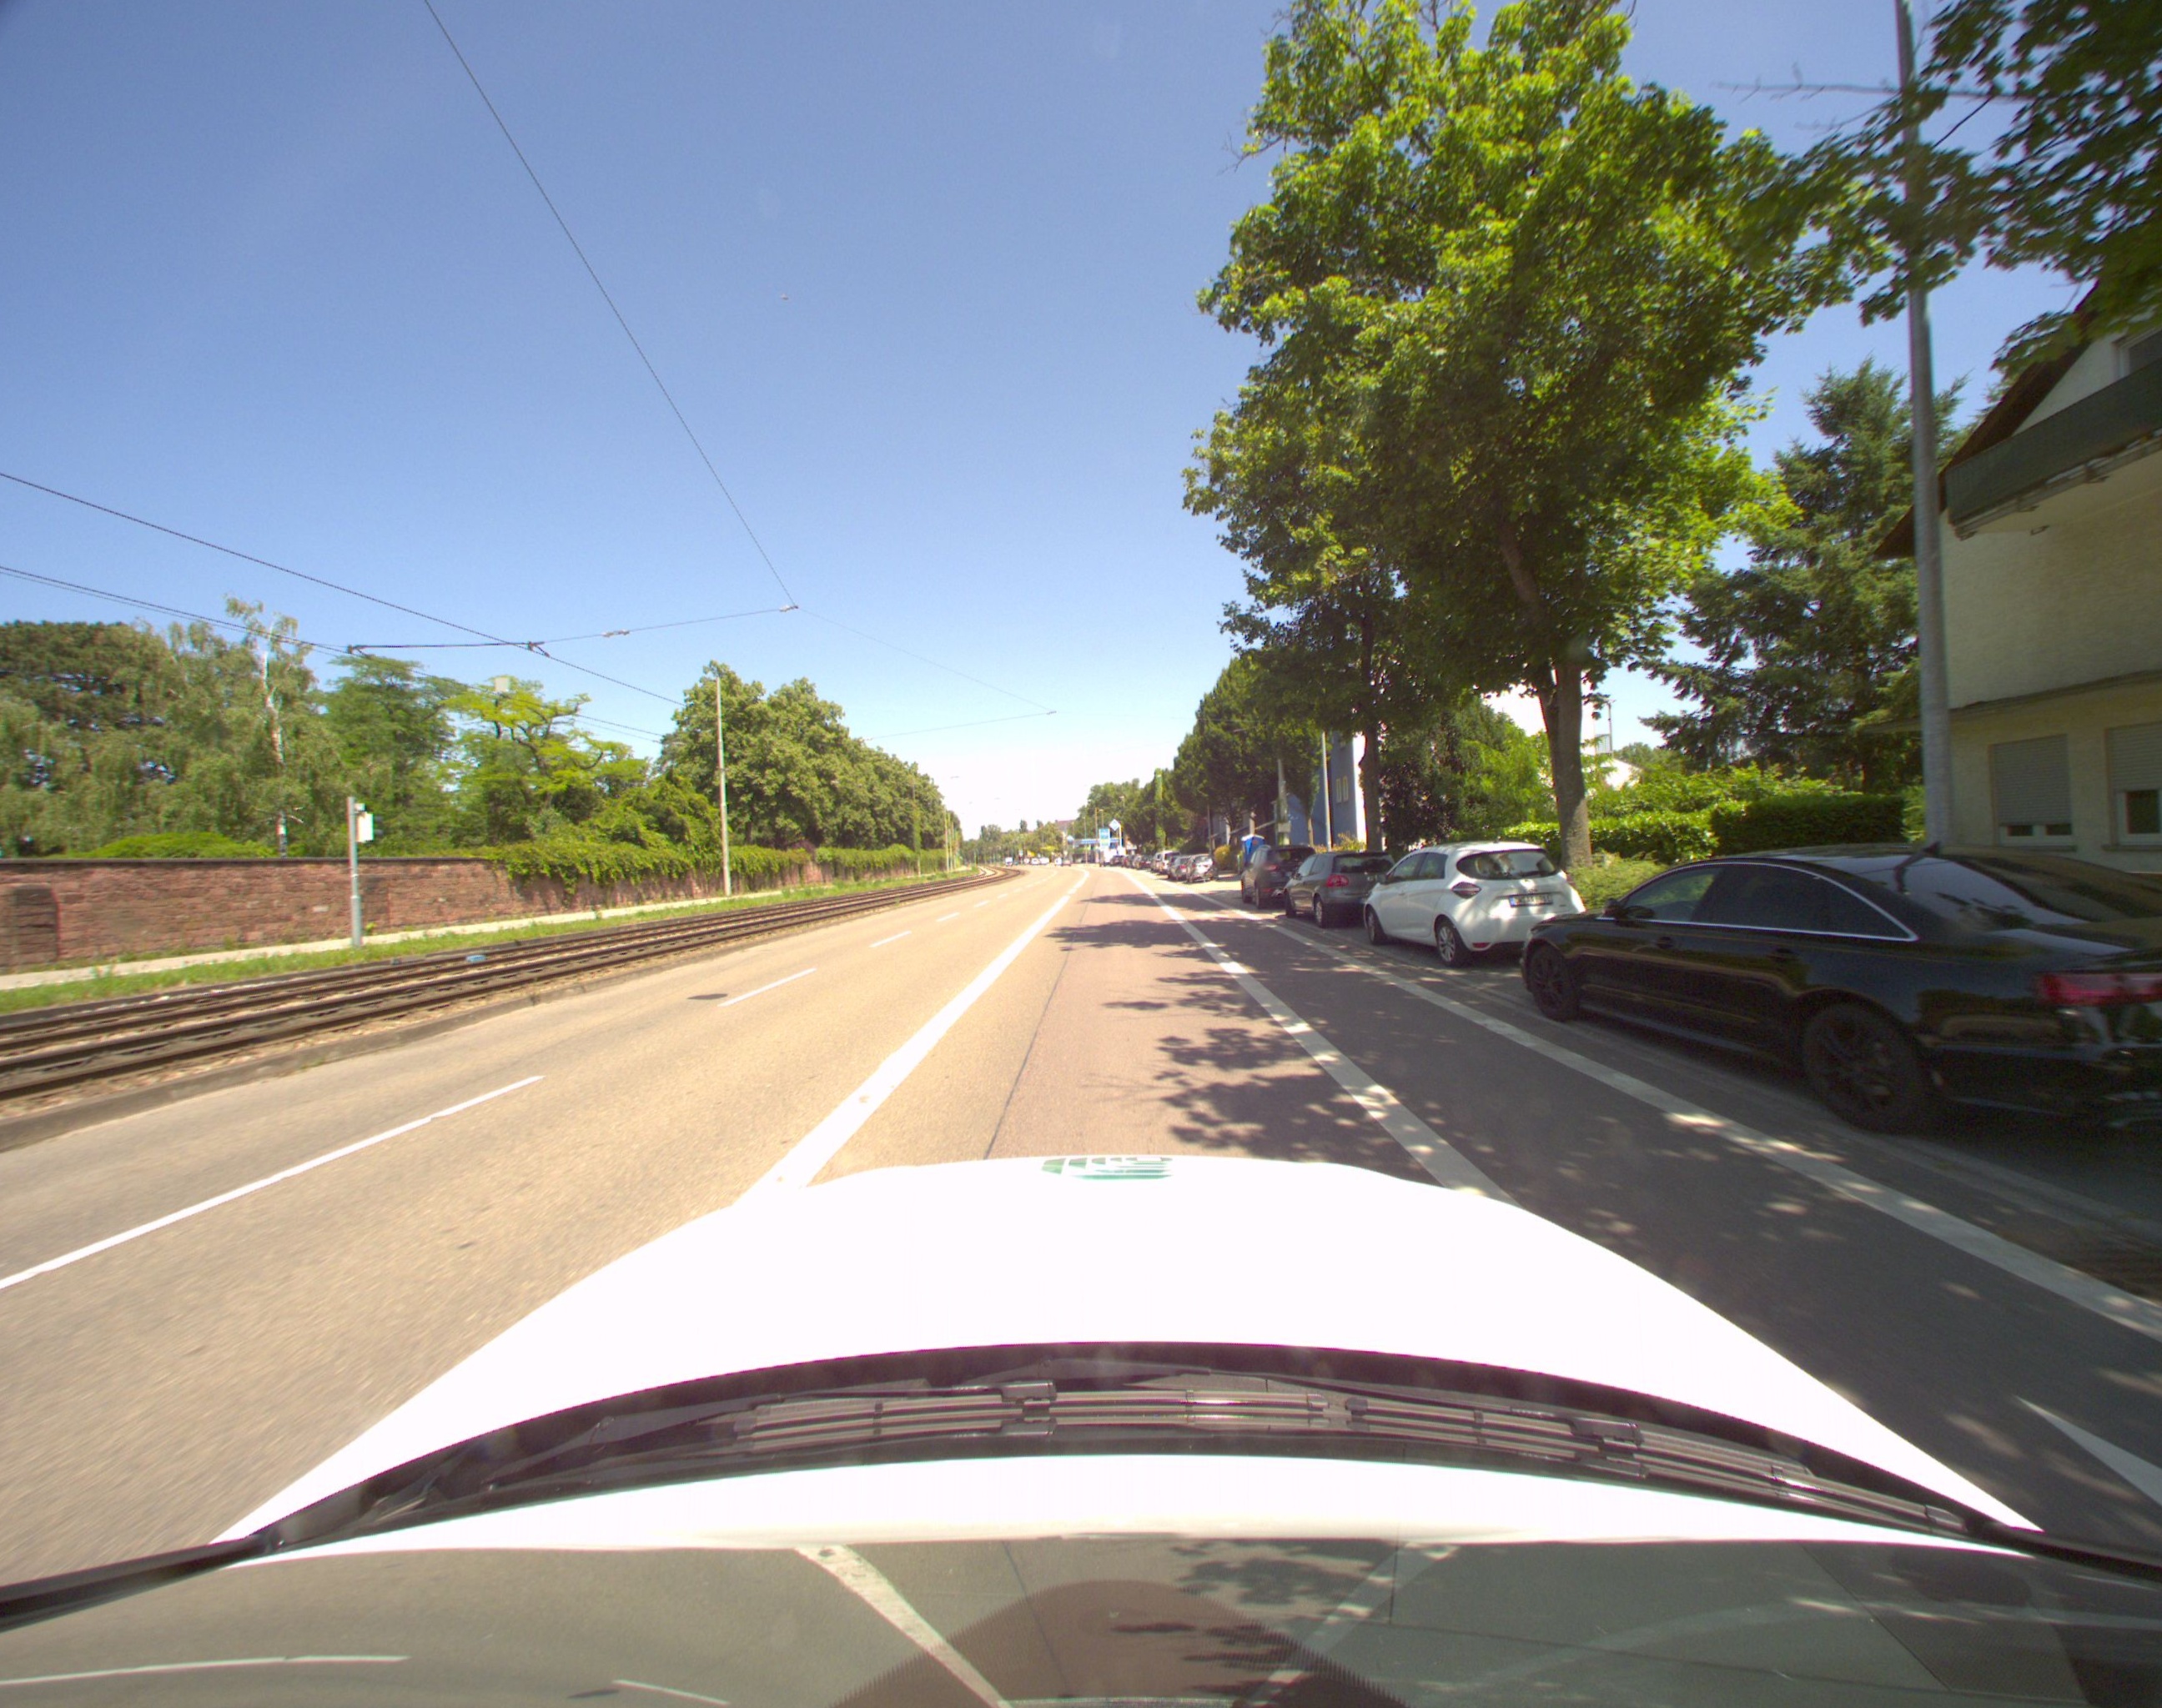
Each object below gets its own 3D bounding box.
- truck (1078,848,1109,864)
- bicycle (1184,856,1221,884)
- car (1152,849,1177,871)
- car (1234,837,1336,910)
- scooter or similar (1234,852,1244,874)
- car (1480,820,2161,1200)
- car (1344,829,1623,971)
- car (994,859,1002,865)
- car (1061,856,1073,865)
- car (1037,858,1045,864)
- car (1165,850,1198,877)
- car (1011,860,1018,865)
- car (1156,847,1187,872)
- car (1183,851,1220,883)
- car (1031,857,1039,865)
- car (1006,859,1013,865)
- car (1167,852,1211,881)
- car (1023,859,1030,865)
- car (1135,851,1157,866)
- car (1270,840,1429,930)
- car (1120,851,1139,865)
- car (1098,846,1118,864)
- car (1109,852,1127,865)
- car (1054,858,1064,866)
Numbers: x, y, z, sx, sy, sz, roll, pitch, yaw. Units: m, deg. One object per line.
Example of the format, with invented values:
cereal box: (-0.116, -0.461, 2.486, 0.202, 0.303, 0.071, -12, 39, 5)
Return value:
truck: (3.180, 0.500, 209.599, 7.945, 3.602, 2.661, -3, 0, -2)
bicycle: (6.403, 0.829, 42.939, 1.765, 1.228, 0.685, -7, -1, 6)
car: (7.258, 0.454, 71.150, 1.833, 1.694, 4.781, -5, 0, 2)
car: (5.631, 0.467, 23.065, 1.833, 1.706, 4.630, -5, 0, 3)
scooter or similar: (9.330, 0.525, 48.056, 0.382, 1.280, 1.339, -1, 0, 2)
car: (4.966, 0.608, 5.754, 1.835, 1.436, 4.824, -5, 0, 0)
car: (5.486, 0.538, 11.817, 1.835, 1.529, 4.204, -5, 0, -1)
car: (-25.103, 2.540, 245.559, 1.757, 1.630, 4.305, -5, 0, -12)
car: (-2.796, 1.228, 157.437, 1.754, 1.630, 4.313, -5, 0, -7)
car: (-11.513, 2.010, 234.901, 1.754, 1.630, 4.313, -5, 0, -7)
car: (6.731, 0.606, 55.025, 1.833, 1.529, 4.220, -5, 0, 4)
car: (-20.006, 2.570, 246.144, 1.754, 1.630, 4.313, -5, 0, -7)
car: (7.189, 0.392, 64.964, 1.834, 1.793, 4.354, -5, 0, 0)
car: (6.611, 0.684, 44.976, 1.513, 1.529, 3.818, -5, 0, 2)
car: (-12.606, 1.970, 224.919, 1.754, 1.874, 4.313, -5, 0, -7)
car: (-20.143, 2.306, 229.578, 1.754, 1.509, 4.313, -5, 0, -7)
car: (6.558, 0.716, 49.989, 1.835, 1.529, 4.964, -5, 0, -1)
car: (-15.475, 2.259, 231.315, 1.753, 1.630, 4.315, -5, 0, -6)
car: (7.014, 0.464, 88.023, 1.702, 1.492, 5.034, -5, 0, -2)
car: (5.527, 0.565, 17.400, 1.835, 1.529, 4.352, -5, 0, 0)
car: (6.202, 0.497, 105.148, 1.705, 1.562, 4.315, -5, 0, -6)
car: (4.108, 0.205, 125.300, 2.000, 2.456, 6.092, -5, 0, -8)
car: (5.159, 0.601, 115.153, 1.754, 1.630, 4.313, -5, 0, -7)
car: (-5.186, 1.841, 190.779, 1.753, 1.630, 4.315, -5, 0, -6)
